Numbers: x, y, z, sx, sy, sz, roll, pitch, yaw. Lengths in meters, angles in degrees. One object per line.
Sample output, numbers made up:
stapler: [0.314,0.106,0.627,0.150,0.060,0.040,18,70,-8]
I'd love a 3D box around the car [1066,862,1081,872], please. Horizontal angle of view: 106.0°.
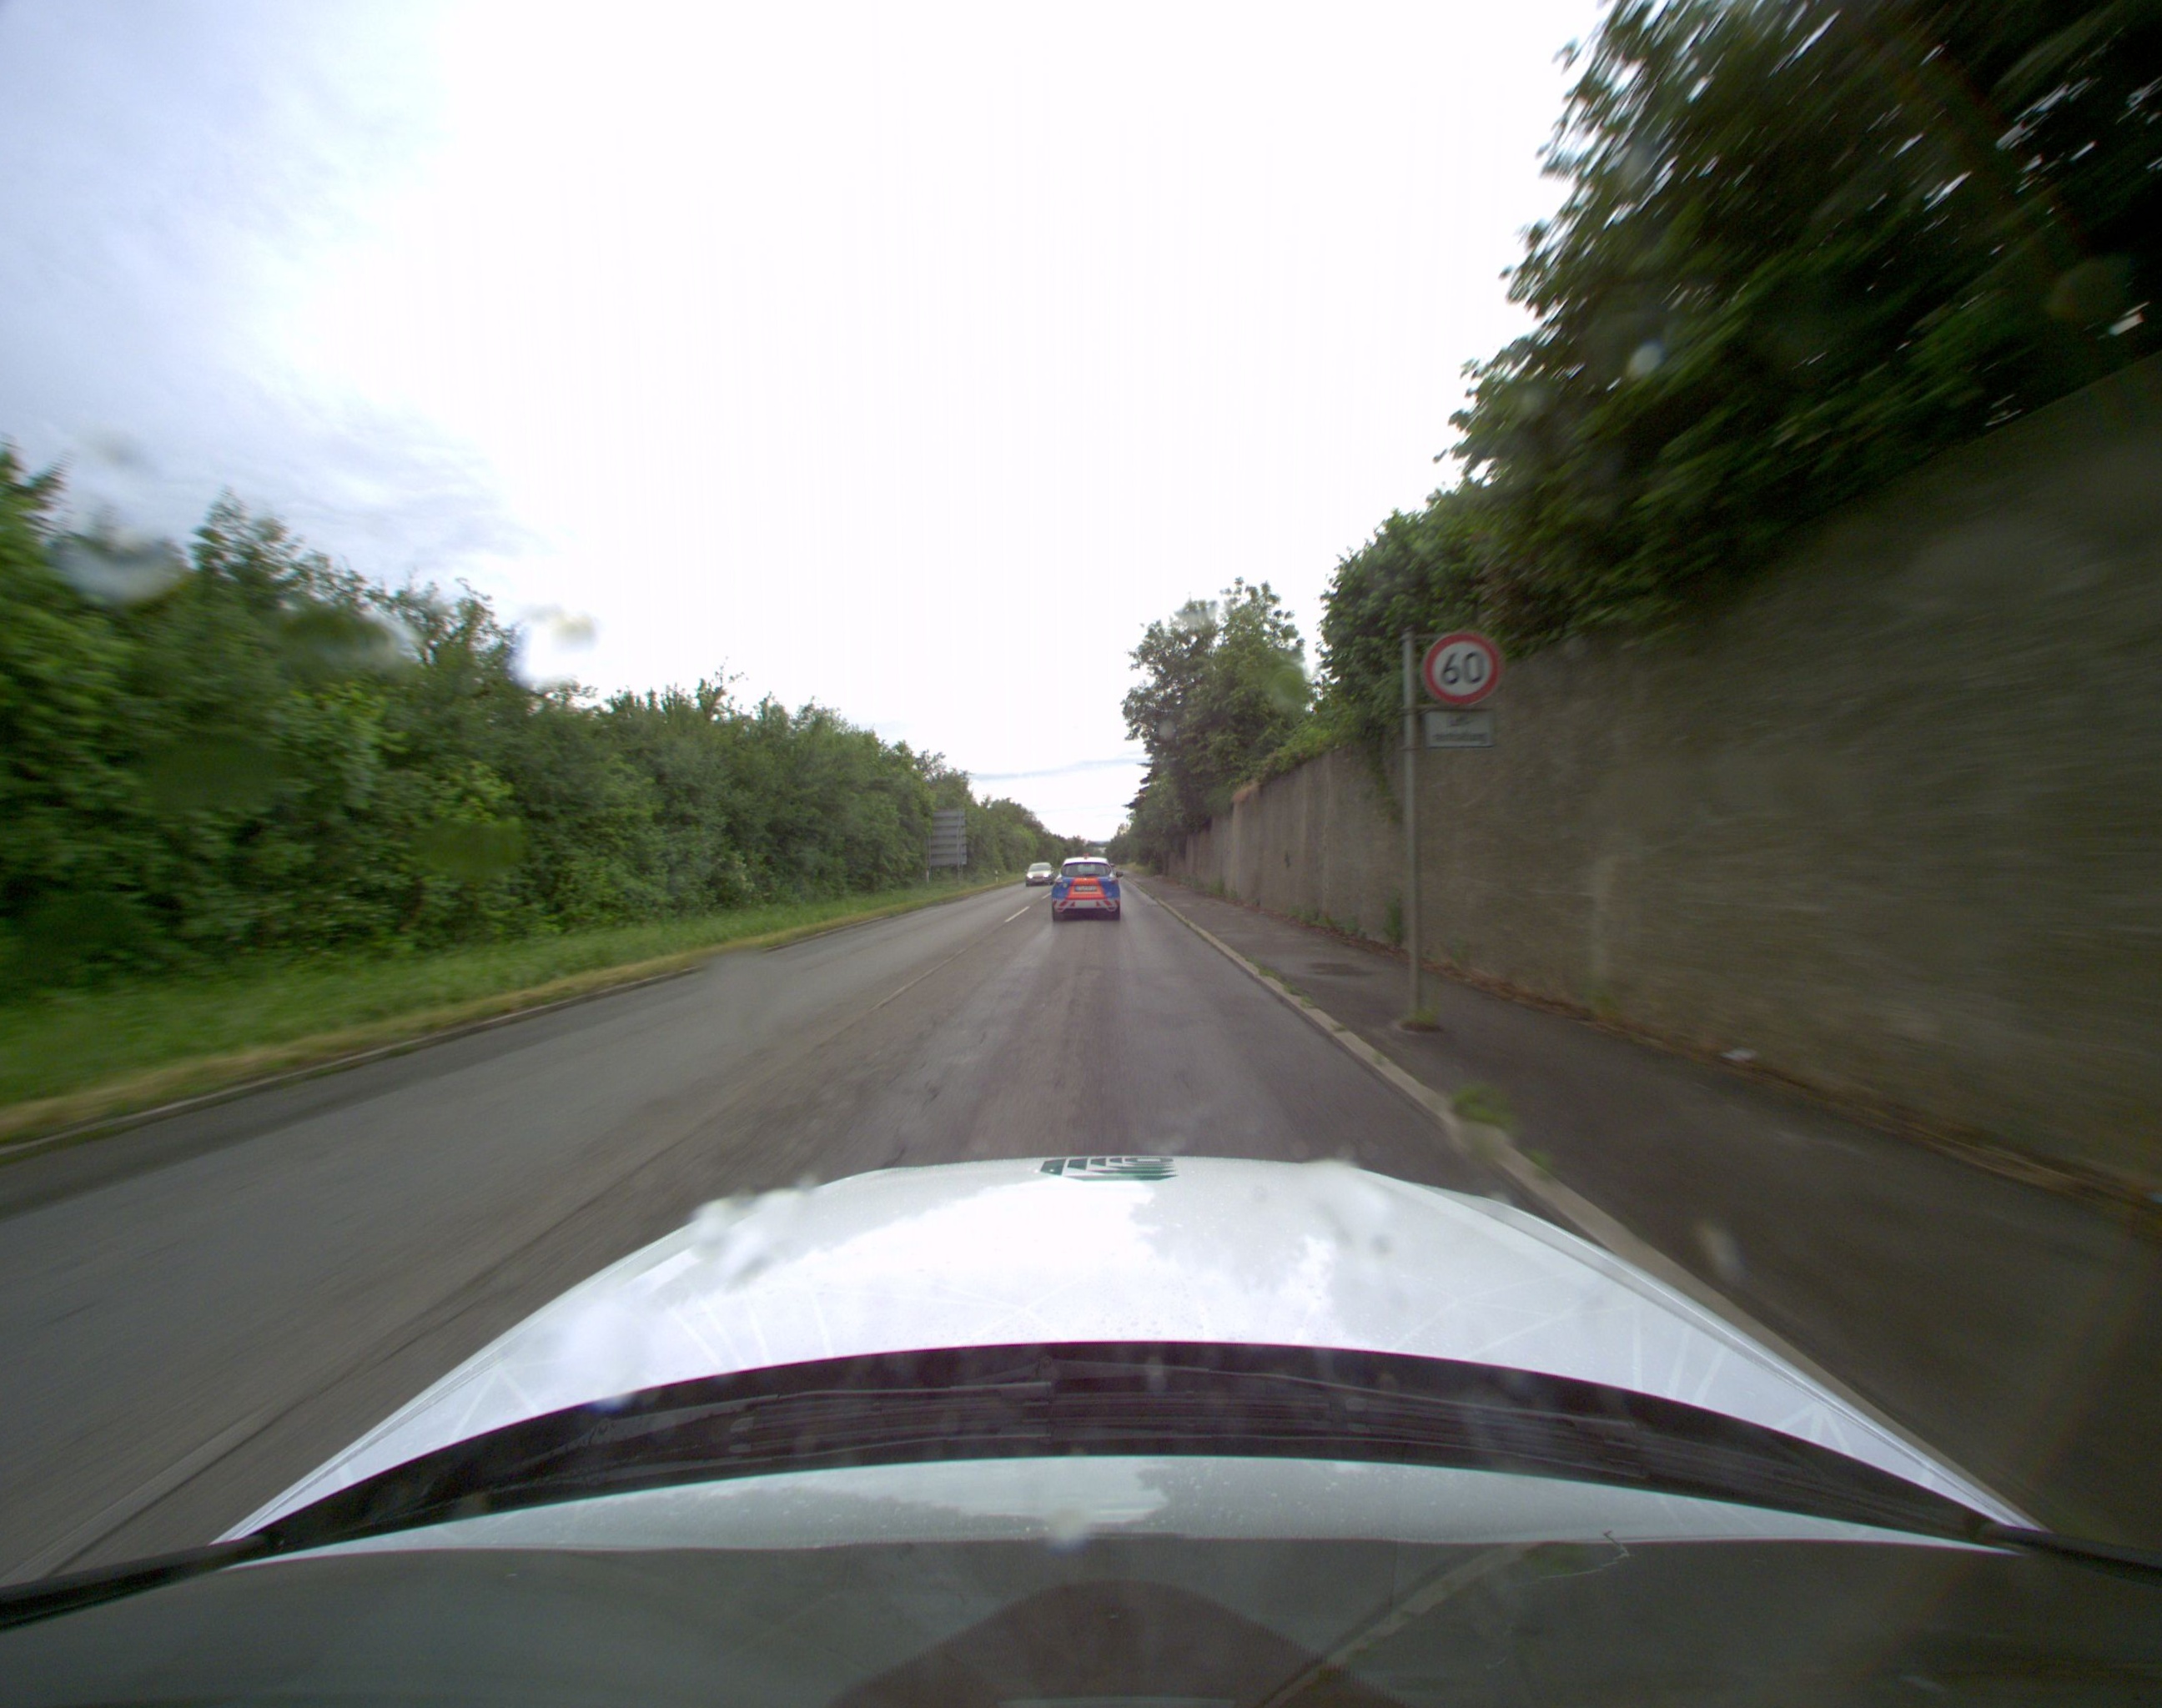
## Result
car: [-0.994,1.764,109.988,1.884,1.354,4.381,-2,-1,0]

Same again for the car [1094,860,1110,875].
car: [2.420,1.518,94.154,1.767,1.625,4.000,-3,0,0]

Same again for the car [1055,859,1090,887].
car: [-0.400,0.972,41.423,1.592,1.287,3.477,-2,-1,2]

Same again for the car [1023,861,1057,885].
car: [-2.668,1.194,53.660,1.819,1.420,4.321,-3,0,2]

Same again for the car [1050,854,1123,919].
car: [0.188,0.795,21.519,1.746,1.555,3.793,-1,0,1]
